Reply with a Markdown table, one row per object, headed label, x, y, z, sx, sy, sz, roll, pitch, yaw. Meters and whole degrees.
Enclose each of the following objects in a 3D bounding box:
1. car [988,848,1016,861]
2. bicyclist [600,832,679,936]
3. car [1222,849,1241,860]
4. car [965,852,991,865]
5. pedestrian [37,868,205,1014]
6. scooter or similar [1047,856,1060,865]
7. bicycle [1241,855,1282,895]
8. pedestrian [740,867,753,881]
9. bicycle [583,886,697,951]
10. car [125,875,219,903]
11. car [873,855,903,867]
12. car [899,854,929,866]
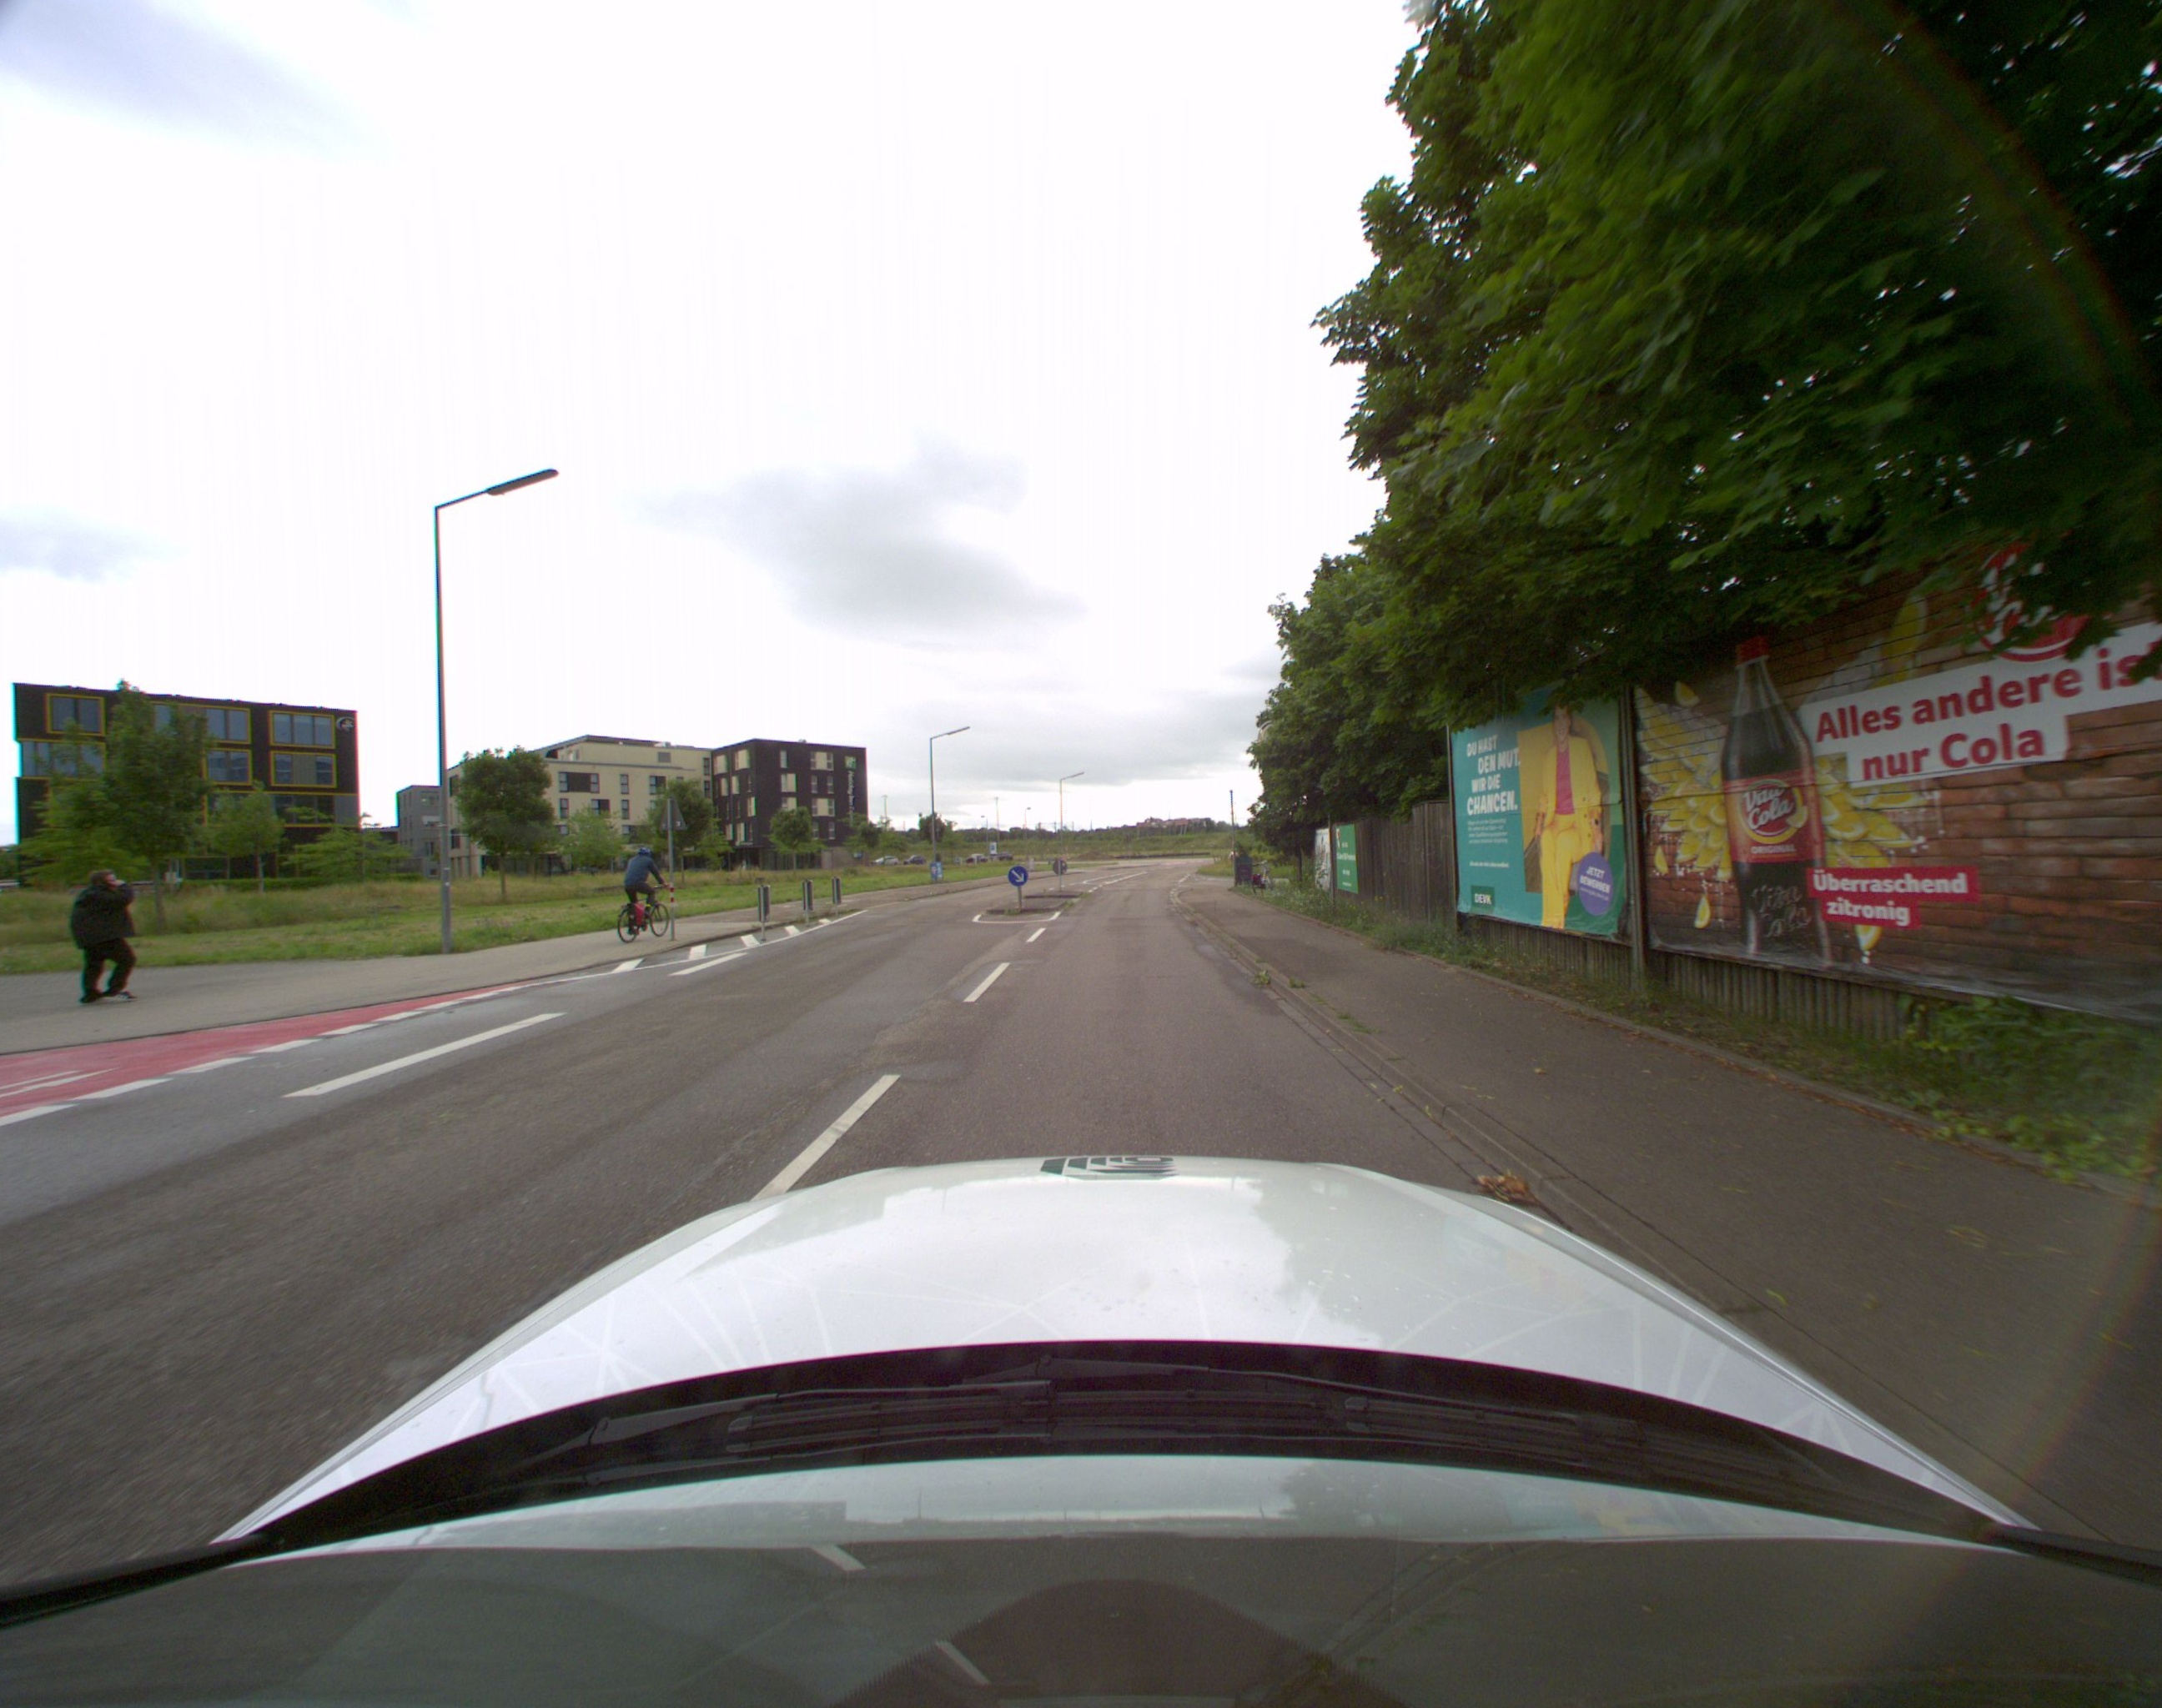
| label | x | y | z | sx | sy | sz | roll | pitch | yaw |
| --- | --- | --- | --- | --- | --- | --- | --- | --- | --- |
| car | -11.916 | 0.092 | 123.073 | 3.949 | 1.822 | 2.012 | -2 | 1 | 43 |
| bicyclist | -9.002 | 0.586 | 16.664 | 0.859 | 2.013 | 1.177 | -3 | 1 | 0 |
| car | 20.112 | 0.078 | 108.961 | 1.657 | 1.461 | 4.079 | 0 | 1 | 23 |
| car | -16.127 | 0.699 | 127.276 | 2.011 | 2.013 | 3.952 | -4 | 1 | -42 |
| pedestrian | -12.743 | 1.110 | 10.859 | 0.842 | 1.782 | 1.076 | -3 | 1 | -3 |
| scooter or similar | -3.508 | 0.829 | 102.914 | 1.451 | 1.168 | 0.574 | -1 | 0 | 16 |
| bicycle | 5.461 | 0.614 | 24.513 | 0.788 | 1.111 | 1.963 | -2 | 0 | 24 |
| pedestrian | -39.247 | 2.299 | 95.493 | 0.942 | 1.570 | 0.881 | -2 | 1 | 25 |
| bicycle | -8.972 | 1.277 | 16.742 | 0.880 | 1.052 | 2.470 | -3 | 1 | 2 |
| car | -61.681 | 2.374 | 55.305 | 1.974 | 1.523 | 4.026 | -4 | 1 | 37 |
| car | -29.723 | 1.058 | 125.297 | 1.974 | 1.517 | 4.181 | -2 | 1 | 34 |
| car | -24.606 | 0.891 | 120.057 | 1.677 | 1.442 | 4.026 | -2 | 1 | 40 |
